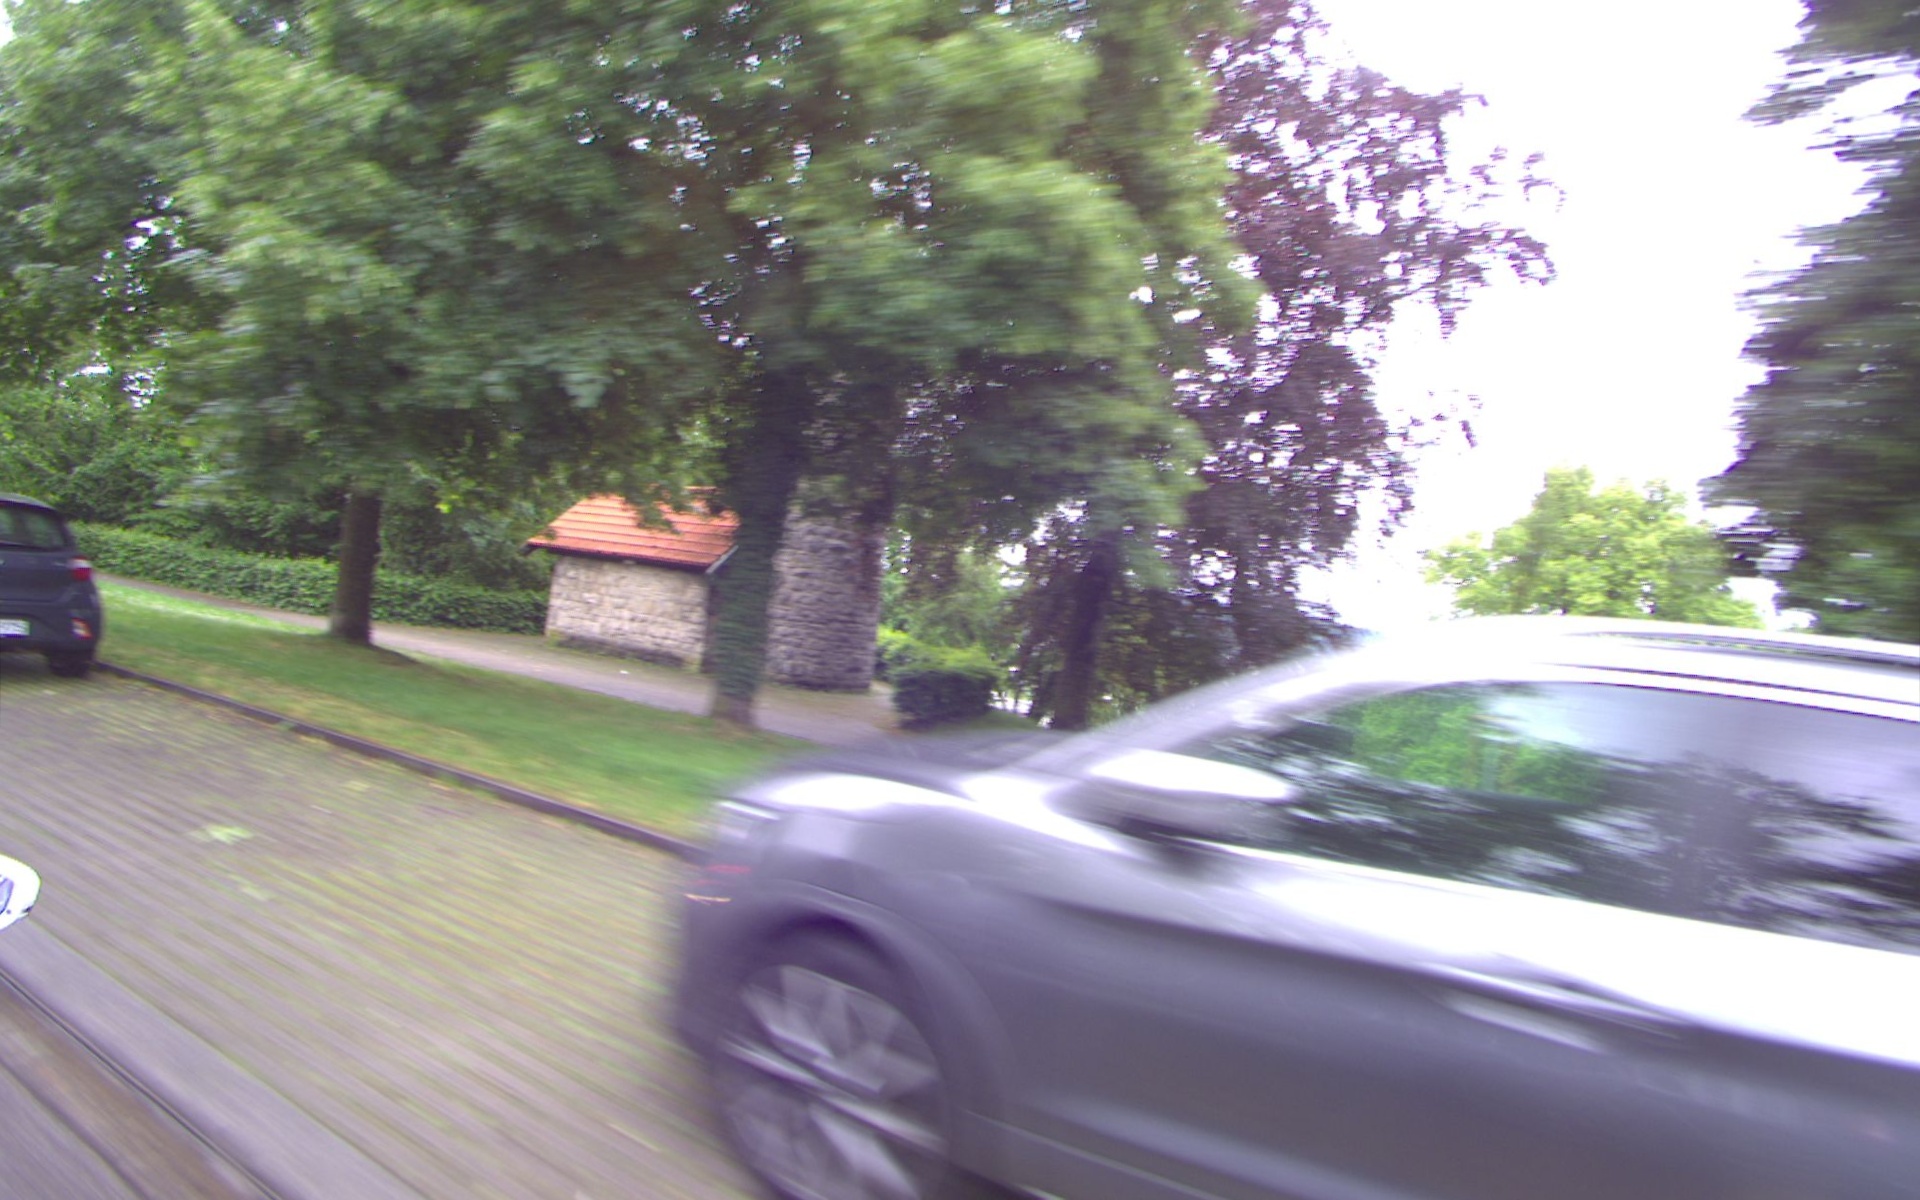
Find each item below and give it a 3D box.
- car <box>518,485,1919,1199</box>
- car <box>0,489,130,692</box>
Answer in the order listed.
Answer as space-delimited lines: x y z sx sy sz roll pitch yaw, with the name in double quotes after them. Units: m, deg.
1.176 0.869 2.434 4.186 1.743 1.783 9 3 27 "car"
-8.954 -0.269 8.413 3.661 1.530 1.868 7 0 30 "car"
